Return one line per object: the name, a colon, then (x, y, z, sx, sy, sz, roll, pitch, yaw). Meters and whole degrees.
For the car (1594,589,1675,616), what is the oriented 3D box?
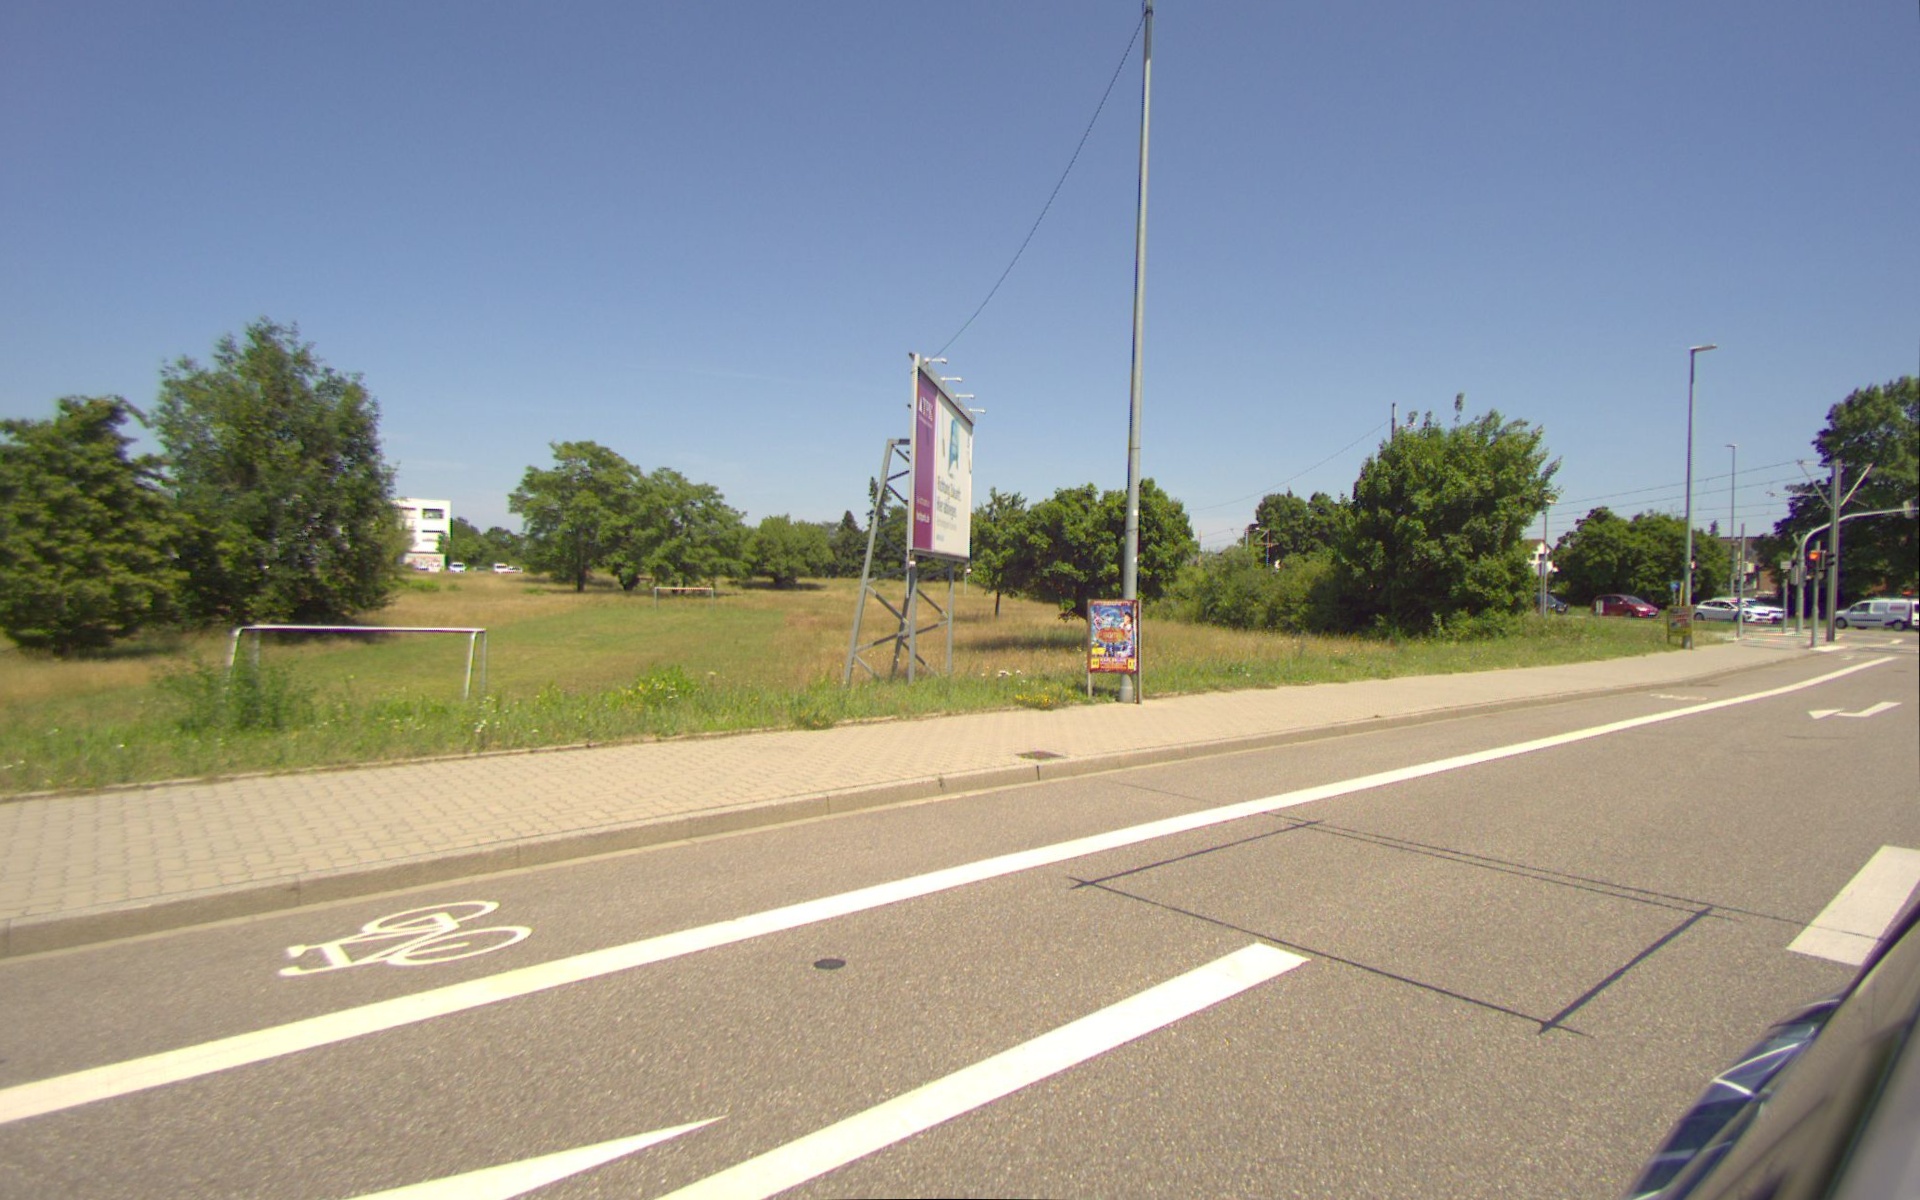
car: (44.501, 0.134, 66.877, 1.836, 1.596, 4.420, 2, 1, -10)

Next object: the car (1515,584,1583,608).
car: (43.173, -0.337, 74.254, 1.836, 1.596, 4.420, 2, 1, -10)

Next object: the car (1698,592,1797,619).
car: (46.086, 0.283, 59.353, 1.836, 1.406, 4.420, 2, 1, -10)

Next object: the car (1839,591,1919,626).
car: (52.810, 0.494, 57.202, 1.857, 1.815, 4.401, 3, 1, -11)

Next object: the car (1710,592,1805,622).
car: (48.834, 0.400, 62.074, 1.836, 1.596, 4.420, 2, 1, -10)
